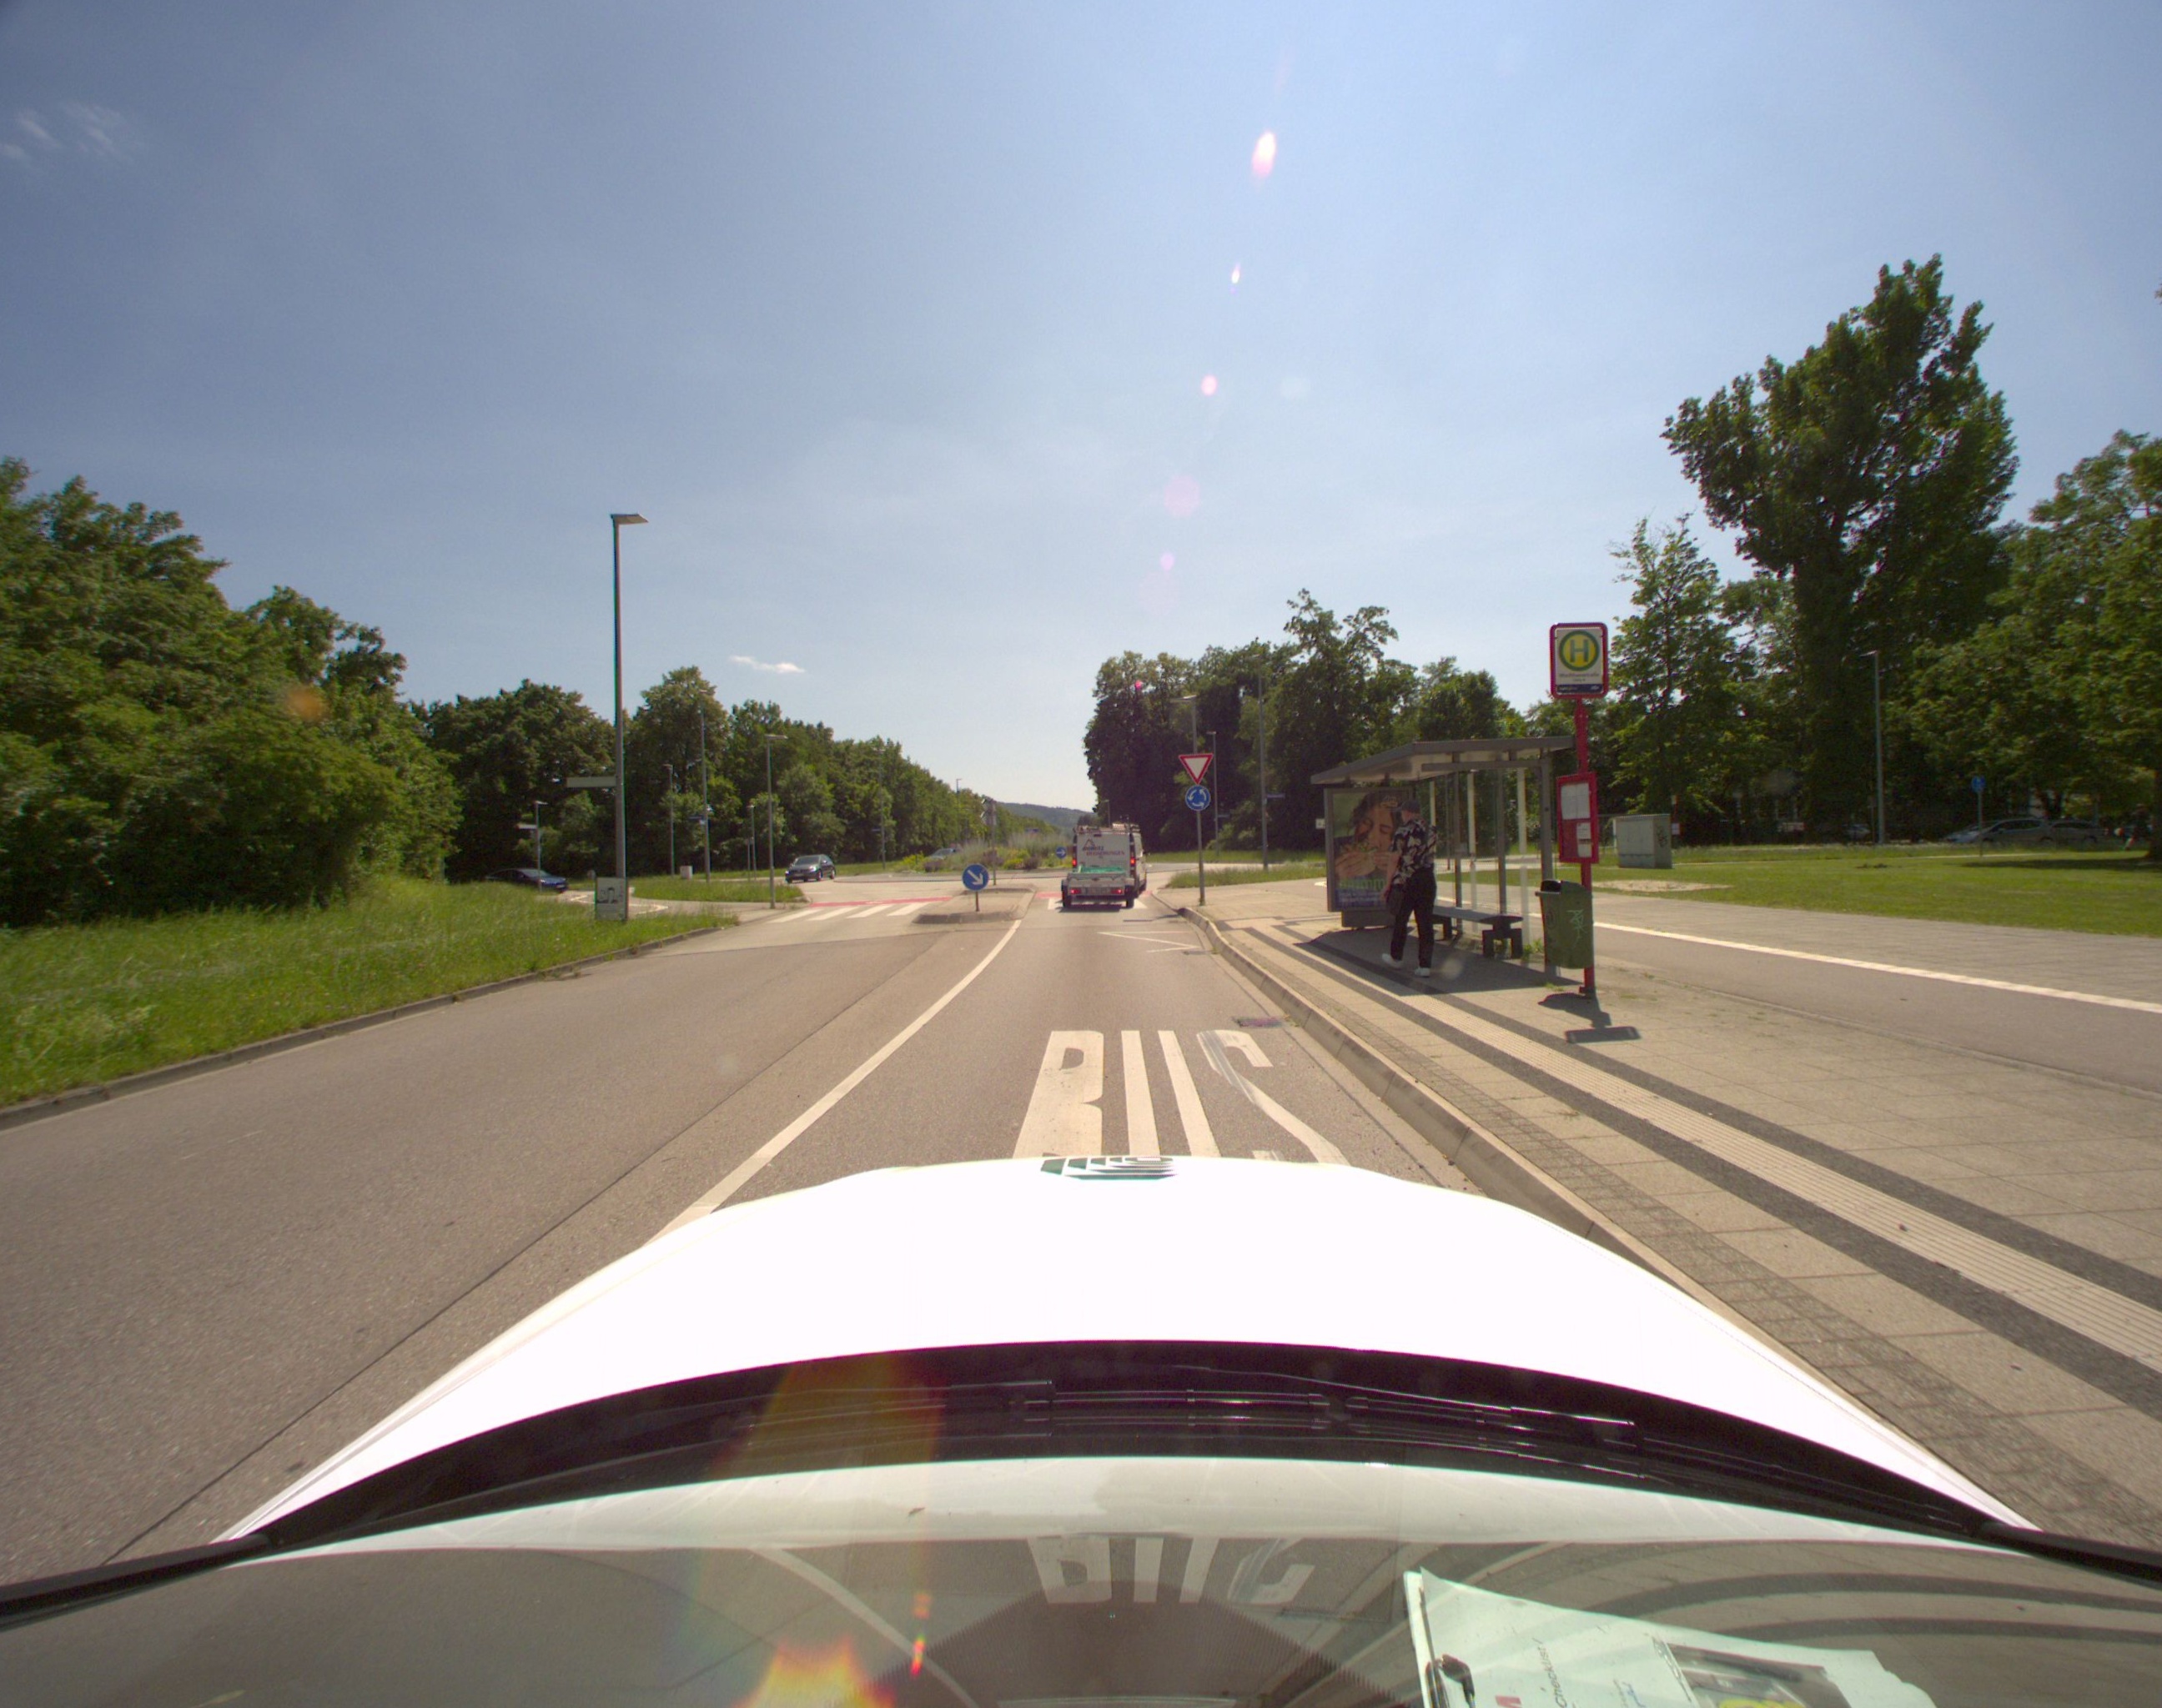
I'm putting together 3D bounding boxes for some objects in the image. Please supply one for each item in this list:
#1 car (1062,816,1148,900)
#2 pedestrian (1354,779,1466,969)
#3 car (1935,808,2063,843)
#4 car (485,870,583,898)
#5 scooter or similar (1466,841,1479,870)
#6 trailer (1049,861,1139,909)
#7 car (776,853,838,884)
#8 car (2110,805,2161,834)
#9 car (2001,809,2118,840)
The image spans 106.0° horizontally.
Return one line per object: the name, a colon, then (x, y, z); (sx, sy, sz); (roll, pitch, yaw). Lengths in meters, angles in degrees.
car: (0.868, 0.119, 25.224); (2.154, 2.316, 4.991); (-1, 0, 7)
pedestrian: (3.367, 0.193, 8.406); (0.706, 1.822, 0.826); (-4, 0, 0)
car: (46.170, -1.416, 41.039); (4.091, 1.607, 1.794); (-1, 0, 8)
car: (-31.448, 1.737, 46.896); (4.518, 1.494, 1.965); (-1, 0, 10)
scooter or similar: (16.324, 0.049, 33.949); (0.442, 1.201, 1.407); (-1, 0, 27)
trailer: (0.427, 0.755, 21.107); (2.112, 1.097, 3.358); (-1, 0, 4)
car: (-14.867, 0.749, 44.423); (1.989, 1.478, 4.285); (-3, 1, -2)
car: (57.295, -1.825, 42.798); (3.760, 1.416, 1.888); (-1, 0, 8)
car: (52.036, -1.581, 43.366); (3.968, 1.485, 1.706); (-1, 3, 4)
